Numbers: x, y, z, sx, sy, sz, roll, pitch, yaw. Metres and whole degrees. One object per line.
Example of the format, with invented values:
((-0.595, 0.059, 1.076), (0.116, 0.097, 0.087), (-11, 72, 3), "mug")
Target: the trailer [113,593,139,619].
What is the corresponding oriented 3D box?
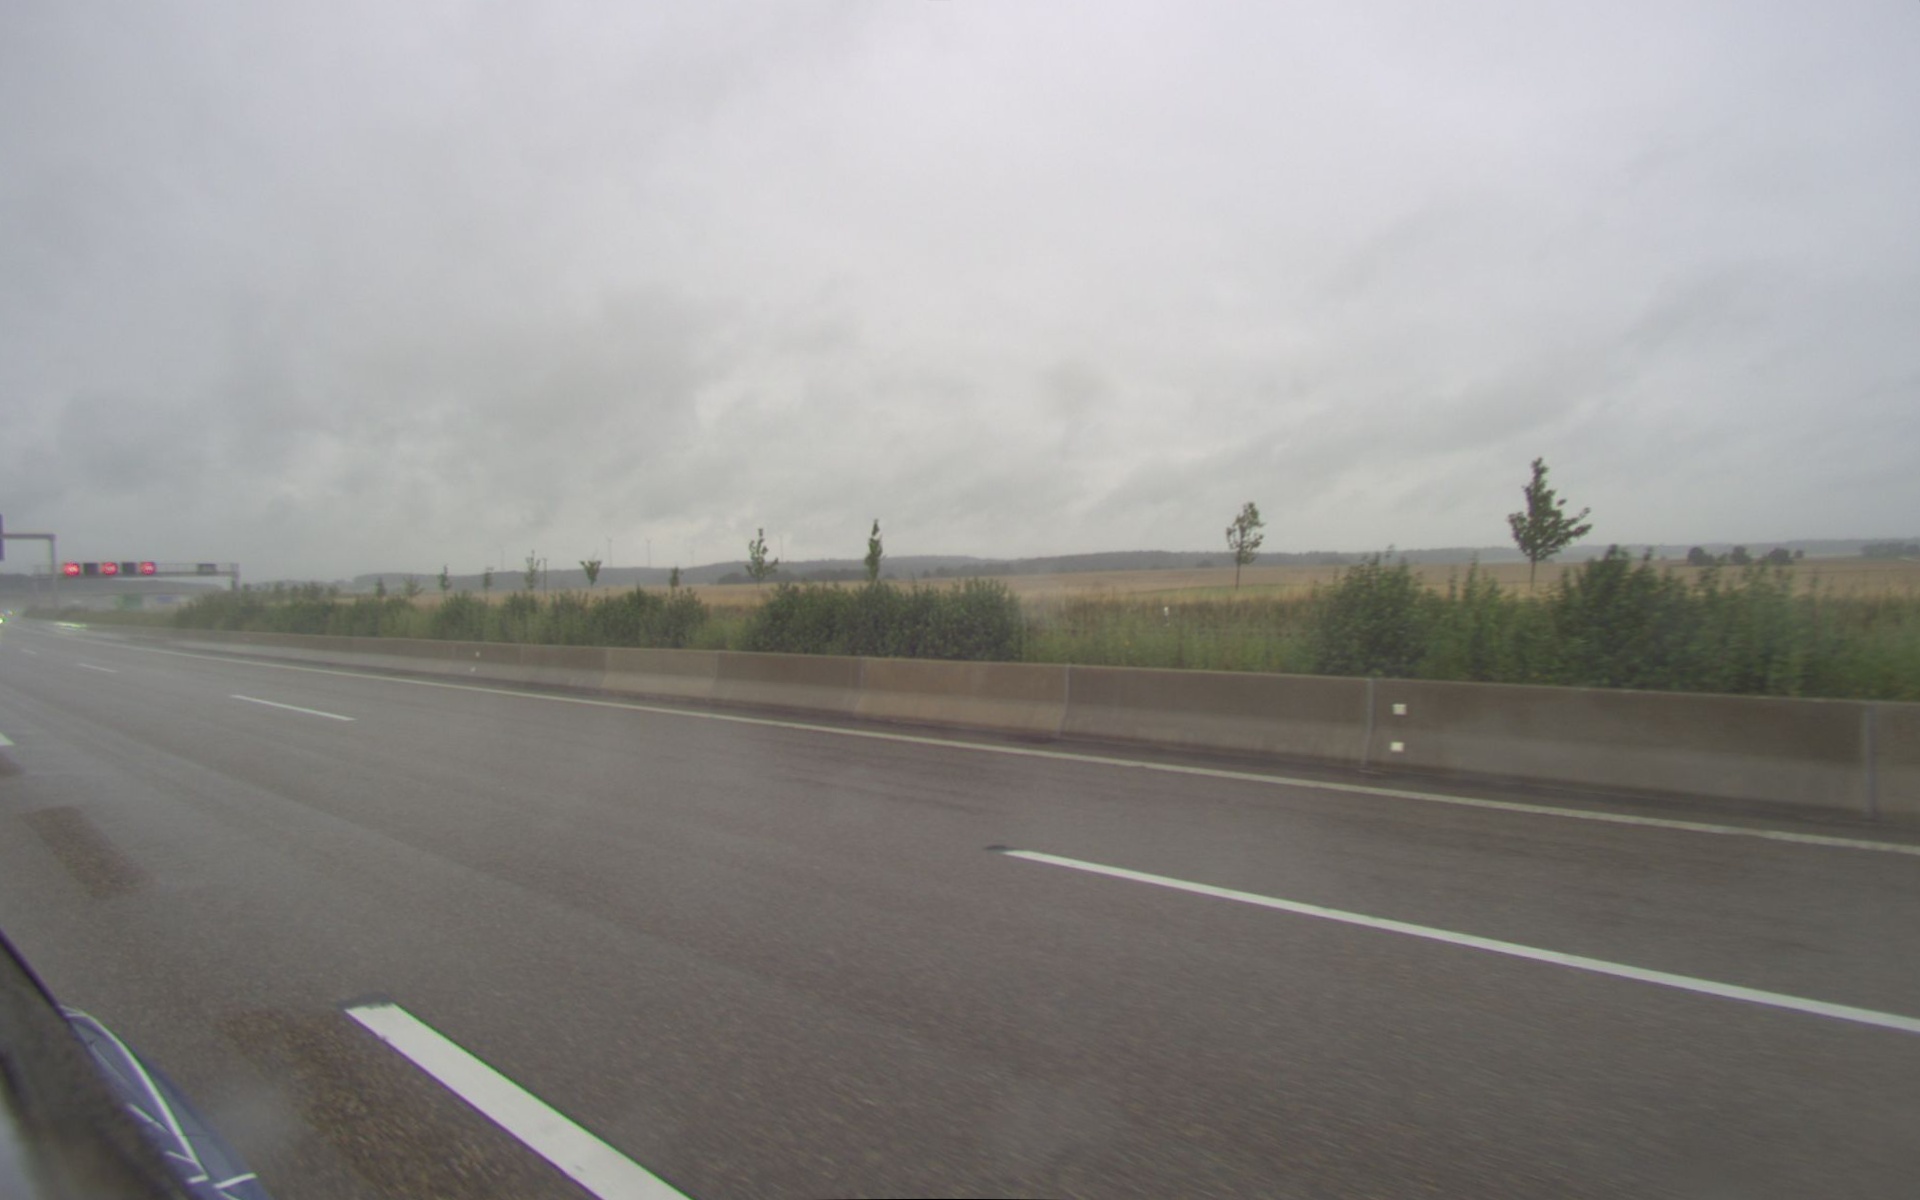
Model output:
((-134.881, 0.991, 163.567), (1.970, 4.070, 14.312), (0, -1, -44), "trailer")
